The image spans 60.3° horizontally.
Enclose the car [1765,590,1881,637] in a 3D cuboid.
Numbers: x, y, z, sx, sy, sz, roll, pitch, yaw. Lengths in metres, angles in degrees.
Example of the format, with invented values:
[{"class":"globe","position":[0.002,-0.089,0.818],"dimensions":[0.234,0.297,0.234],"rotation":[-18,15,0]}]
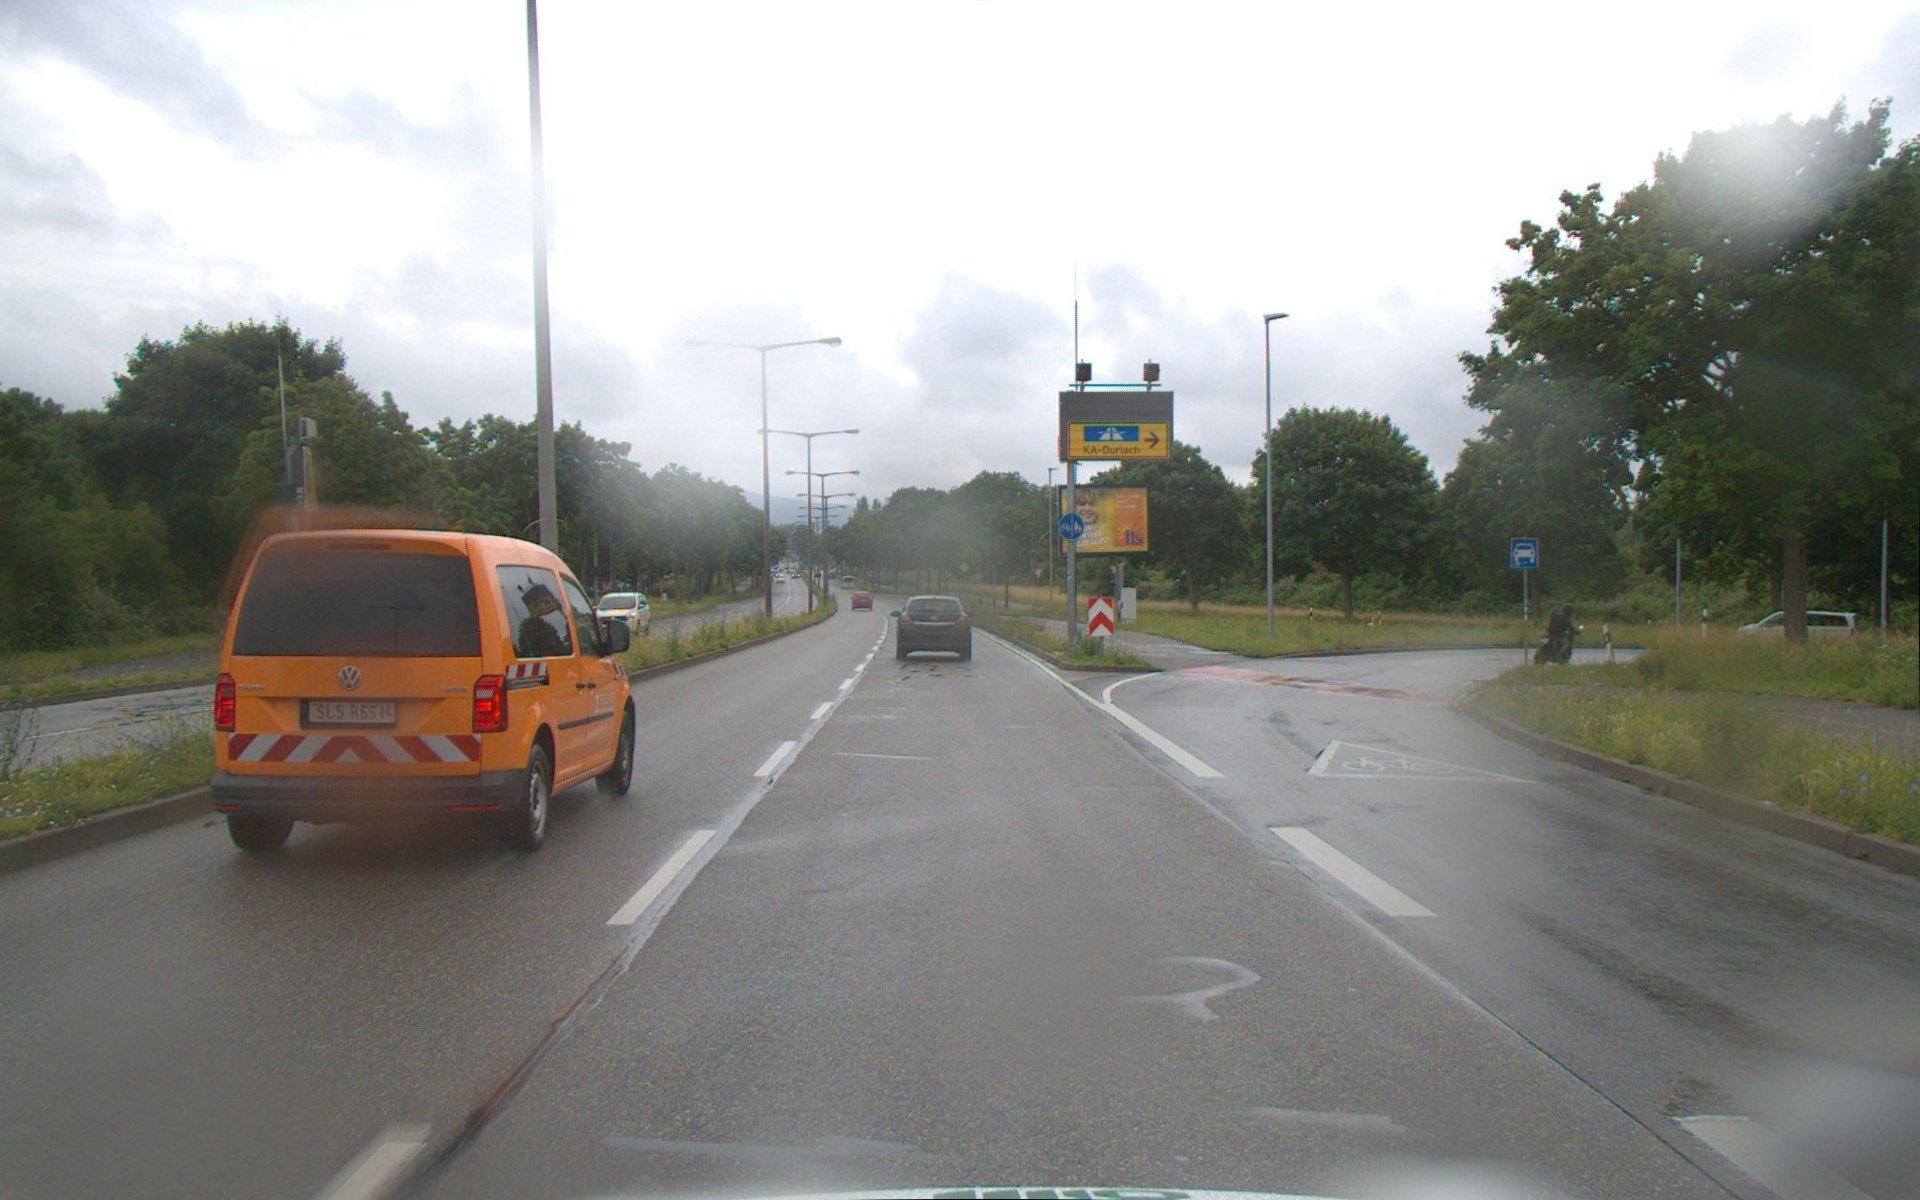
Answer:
[{"class":"car","position":[38.780,0.594,74.334],"dimensions":[4.510,2.009,2.061],"rotation":[1,0,31]}]

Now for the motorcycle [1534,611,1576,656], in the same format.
[{"class":"motorcycle","position":[15.479,0.862,43.007],"dimensions":[0.591,1.112,1.726],"rotation":[1,1,35]}]

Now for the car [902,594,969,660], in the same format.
[{"class":"car","position":[-0.585,0.572,37.487],"dimensions":[1.433,1.352,3.756],"rotation":[0,1,-2]}]

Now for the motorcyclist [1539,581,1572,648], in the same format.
[{"class":"motorcyclist","position":[15.470,0.371,42.982],"dimensions":[0.591,1.719,0.857],"rotation":[1,1,35]}]

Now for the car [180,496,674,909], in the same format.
[{"class":"car","position":[-3.131,0.520,10.851],"dimensions":[1.699,2.054,4.848],"rotation":[2,0,-1]}]

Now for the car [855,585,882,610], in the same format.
[{"class":"car","position":[-7.129,-0.232,129.324],"dimensions":[1.953,1.912,3.998],"rotation":[0,0,-2]}]

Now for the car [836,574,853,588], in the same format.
[{"class":"car","position":[-17.922,-2.905,256.447],"dimensions":[2.467,2.088,5.287],"rotation":[-1,0,-5]}]

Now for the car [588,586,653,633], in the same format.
[{"class":"car","position":[-13.004,0.321,63.575],"dimensions":[1.673,1.658,4.490],"rotation":[-3,1,-2]}]
